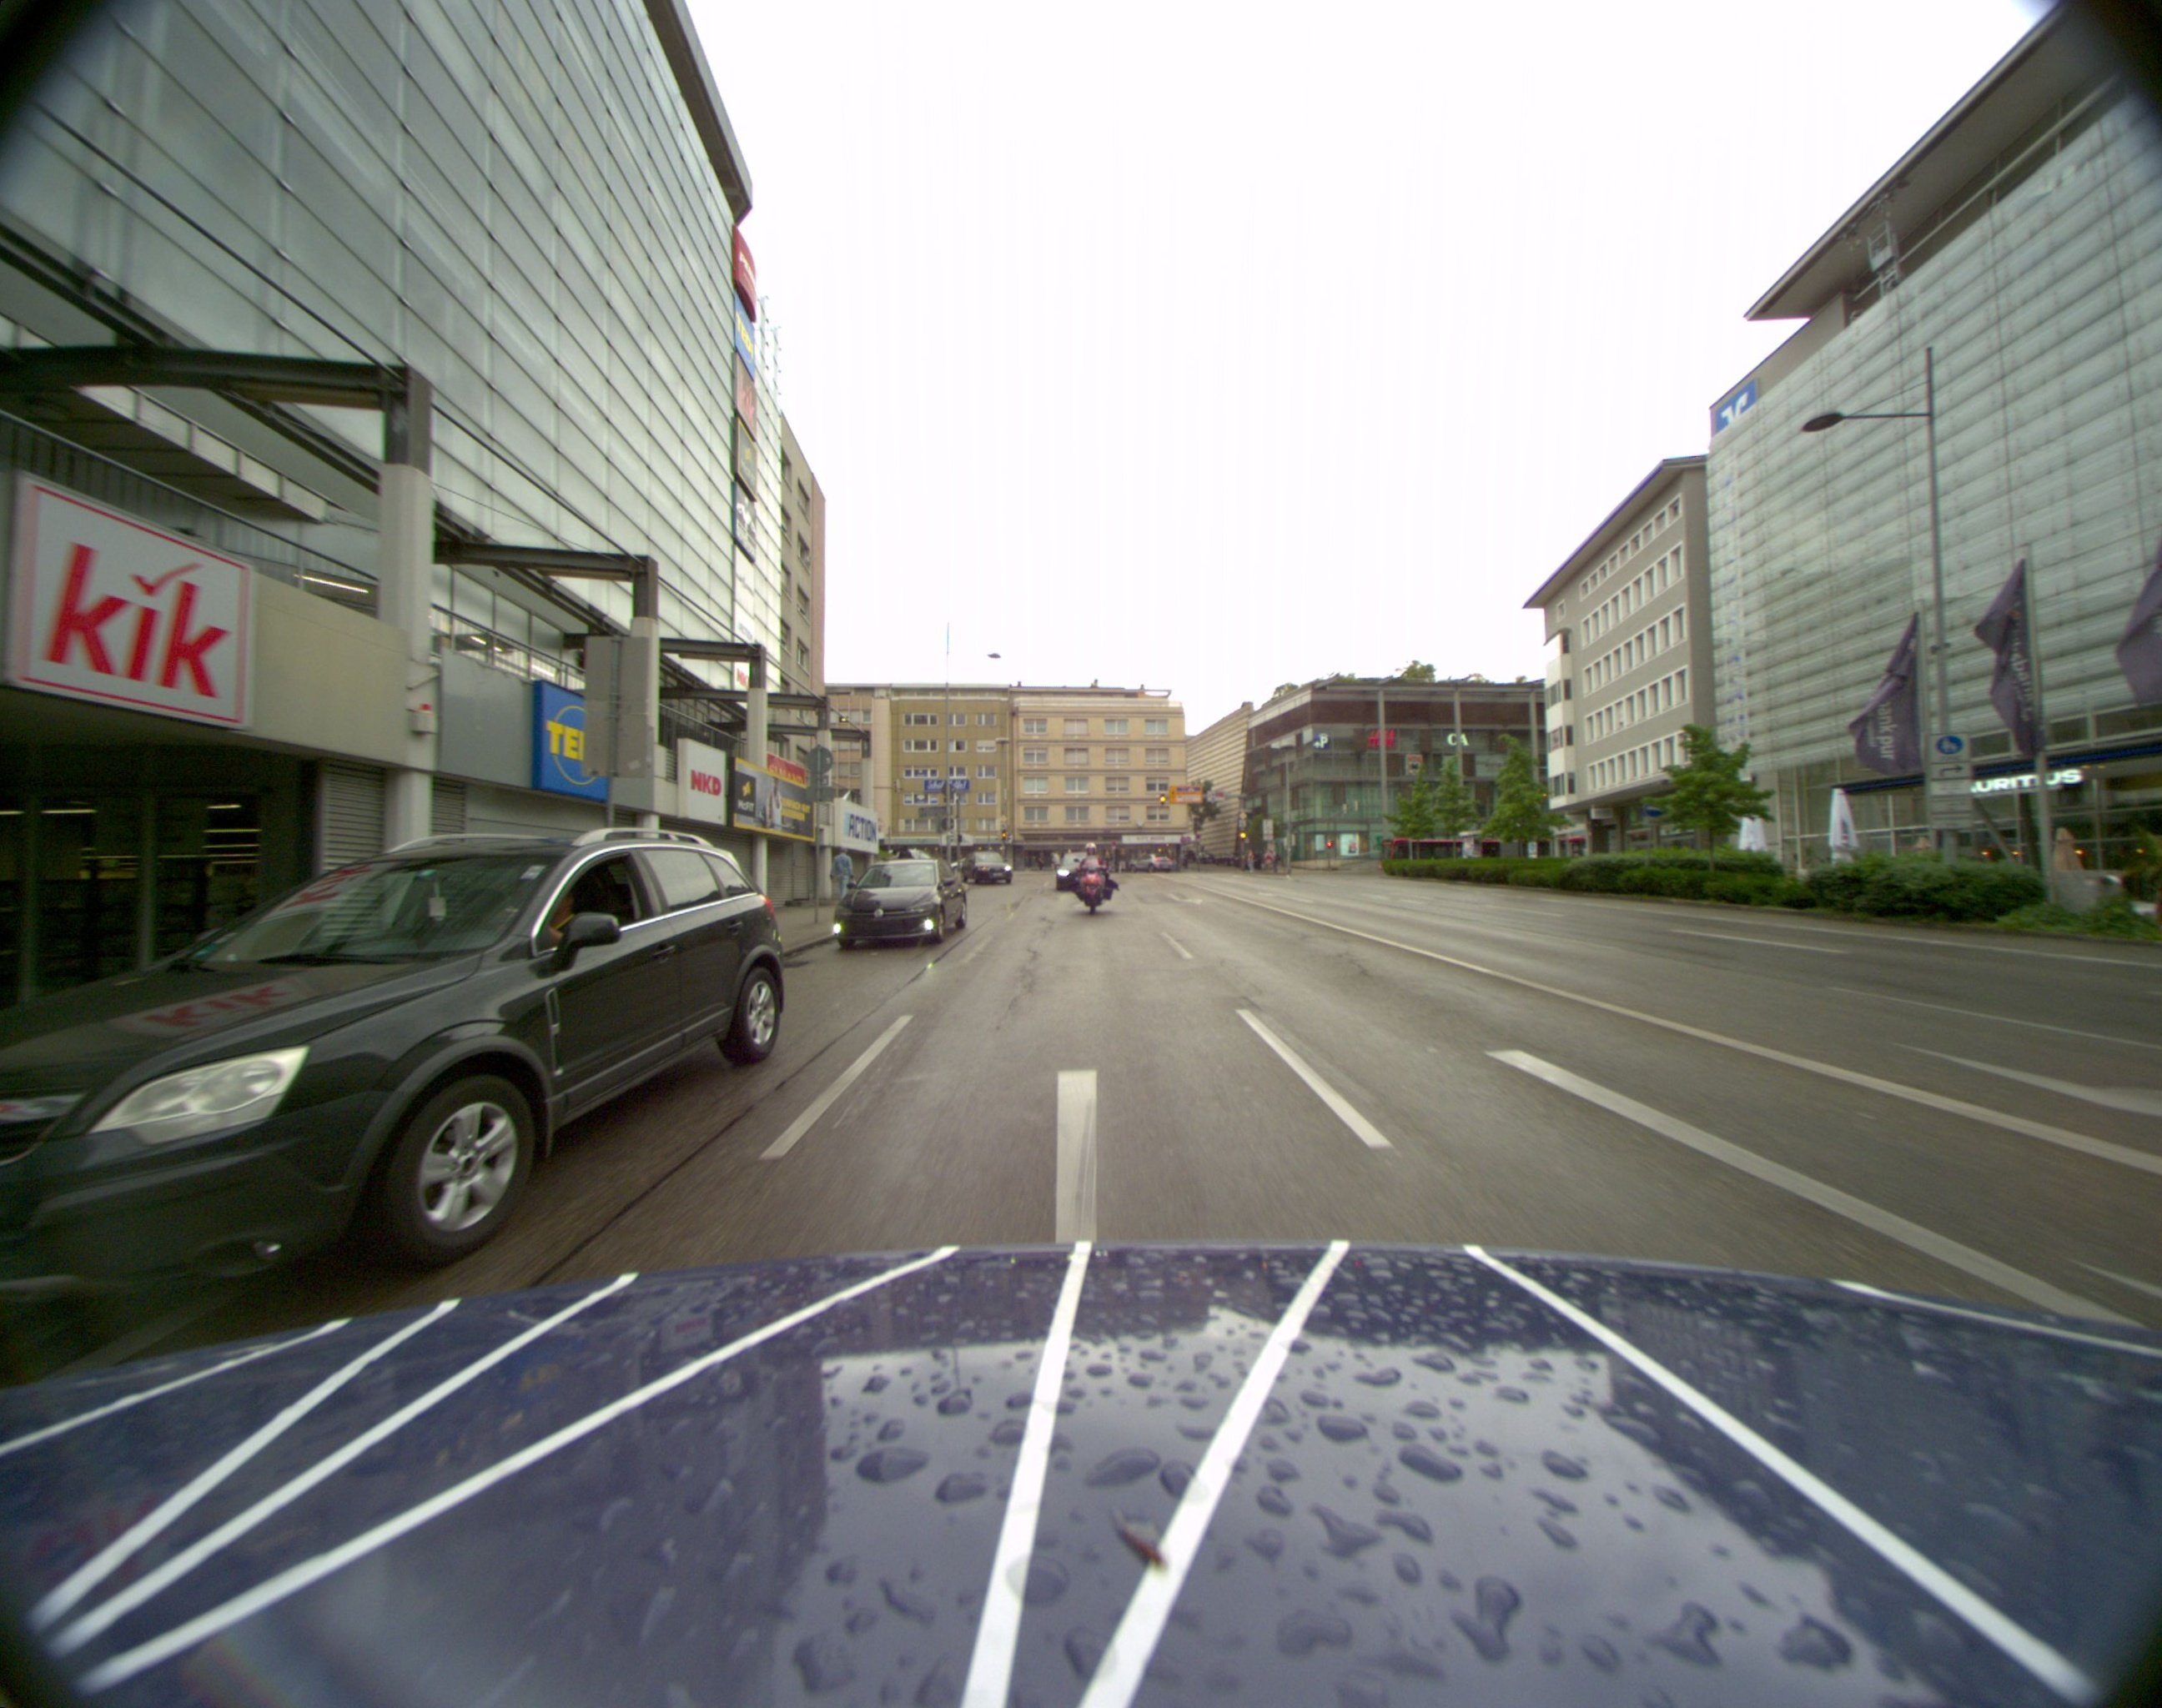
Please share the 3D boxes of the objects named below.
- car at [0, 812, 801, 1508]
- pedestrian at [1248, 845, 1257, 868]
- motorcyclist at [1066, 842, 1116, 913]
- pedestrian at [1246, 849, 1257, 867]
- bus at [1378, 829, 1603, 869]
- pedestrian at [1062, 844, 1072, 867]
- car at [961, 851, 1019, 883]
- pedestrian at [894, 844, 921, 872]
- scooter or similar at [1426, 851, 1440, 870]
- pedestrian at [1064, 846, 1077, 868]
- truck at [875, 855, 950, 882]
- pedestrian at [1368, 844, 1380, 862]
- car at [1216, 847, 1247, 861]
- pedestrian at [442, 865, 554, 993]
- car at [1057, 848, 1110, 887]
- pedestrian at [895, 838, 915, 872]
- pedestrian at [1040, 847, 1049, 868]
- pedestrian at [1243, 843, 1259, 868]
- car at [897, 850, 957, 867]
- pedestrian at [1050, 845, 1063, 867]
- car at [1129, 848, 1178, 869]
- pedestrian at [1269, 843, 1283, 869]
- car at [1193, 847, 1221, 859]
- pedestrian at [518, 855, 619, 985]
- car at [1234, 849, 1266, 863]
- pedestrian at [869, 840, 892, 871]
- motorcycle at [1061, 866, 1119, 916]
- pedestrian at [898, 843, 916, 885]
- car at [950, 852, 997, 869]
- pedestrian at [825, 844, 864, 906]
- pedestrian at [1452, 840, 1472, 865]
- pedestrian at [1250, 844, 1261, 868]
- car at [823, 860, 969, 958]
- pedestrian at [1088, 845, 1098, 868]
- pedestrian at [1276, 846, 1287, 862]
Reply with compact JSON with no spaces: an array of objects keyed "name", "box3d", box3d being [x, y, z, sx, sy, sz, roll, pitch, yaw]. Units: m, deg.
[{"name":"car","box3d":[-3.329,0.850,4.112,1.912,1.775,4.302,-3,0,0]},{"name":"pedestrian","box3d":[12.282,0.161,54.379,0.501,1.659,0.571,0,0,3]},{"name":"motorcyclist","box3d":[0.216,0.534,17.524,1.093,1.595,0.953,0,0,-2]},{"name":"pedestrian","box3d":[12.300,0.293,54.947,0.588,1.331,0.631,0,1,-10]},{"name":"bus","box3d":[35.689,-0.389,66.530,18.468,3.301,2.929,0,0,-3]},{"name":"pedestrian","box3d":[-1.024,0.135,57.280,0.706,1.701,0.786,1,1,0]},{"name":"car","box3d":[-4.614,0.613,38.075,1.875,1.538,4.096,0,0,-22]},{"name":"pedestrian","box3d":[-9.671,0.225,42.267,1.061,1.522,1.024,3,0,-38]},{"name":"scooter or similar","box3d":[22.175,0.410,47.887,0.543,1.179,1.386,0,-1,16]},{"name":"pedestrian","box3d":[-0.752,0.208,54.601,0.854,1.559,0.715,1,1,0]},{"name":"truck","box3d":[-10.237,0.897,46.244,3.992,1.532,1.858,-1,1,17]},{"name":"pedestrian","box3d":[31.000,-0.094,80.384,0.974,1.969,0.883,0,0,-5]},{"name":"car","box3d":[18.140,-0.032,91.781,1.899,1.537,4.375,-2,1,-14]},{"name":"pedestrian","box3d":[-6.971,0.866,9.114,0.773,1.458,0.704,0,1,7]},{"name":"car","box3d":[0.052,0.550,31.003,1.999,1.482,4.735,0,-1,-1]},{"name":"pedestrian","box3d":[-10.054,0.088,43.464,0.785,1.855,0.618,4,-3,12]},{"name":"pedestrian","box3d":[-2.635,0.232,55.026,0.560,1.479,0.707,1,1,0]},{"name":"pedestrian","box3d":[12.595,0.110,56.345,0.853,1.777,1.012,0,1,-10]},{"name":"car","box3d":[-12.477,0.374,61.799,4.630,1.407,1.797,0,-1,-5]},{"name":"pedestrian","box3d":[-1.778,0.145,55.612,0.914,1.662,0.981,0,1,1]},{"name":"car","box3d":[5.807,0.341,61.407,1.850,1.543,4.083,1,0,-30]},{"name":"pedestrian","box3d":[13.514,0.146,52.694,0.617,1.768,0.831,0,1,-10]},{"name":"car","box3d":[16.370,-0.147,98.806,1.899,1.537,4.375,-2,1,-14]},{"name":"pedestrian","box3d":[-5.926,0.740,8.807,0.747,1.429,0.597,1,1,7]},{"name":"car","box3d":[19.178,0.181,86.321,1.806,1.537,4.291,0,1,-14]},{"name":"pedestrian","box3d":[-11.499,0.082,43.654,0.837,1.711,1.040,0,-3,13]},{"name":"motorcycle","box3d":[0.190,0.867,18.408,1.313,1.128,2.185,1,-1,-1]},{"name":"pedestrian","box3d":[-7.636,0.441,33.321,0.601,1.829,1.012,0,0,-4]},{"name":"car","box3d":[-10.424,0.591,73.730,4.398,1.542,1.852,-1,1,-5]},{"name":"pedestrian","box3d":[-6.612,0.585,21.249,0.837,1.712,0.618,0,1,7]},{"name":"pedestrian","box3d":[27.237,-0.082,54.391,0.800,1.765,1.024,0,1,-10]},{"name":"pedestrian","box3d":[12.303,0.132,53.711,0.638,1.679,0.784,0,1,5]},{"name":"car","box3d":[-3.172,0.887,13.826,1.742,1.422,3.880,-3,-1,-2]},{"name":"pedestrian","box3d":[0.903,0.203,56.688,0.693,1.682,0.758,2,1,0]},{"name":"pedestrian","box3d":[22.250,0.040,84.203,0.696,1.751,1.048,0,-1,-17]}]
